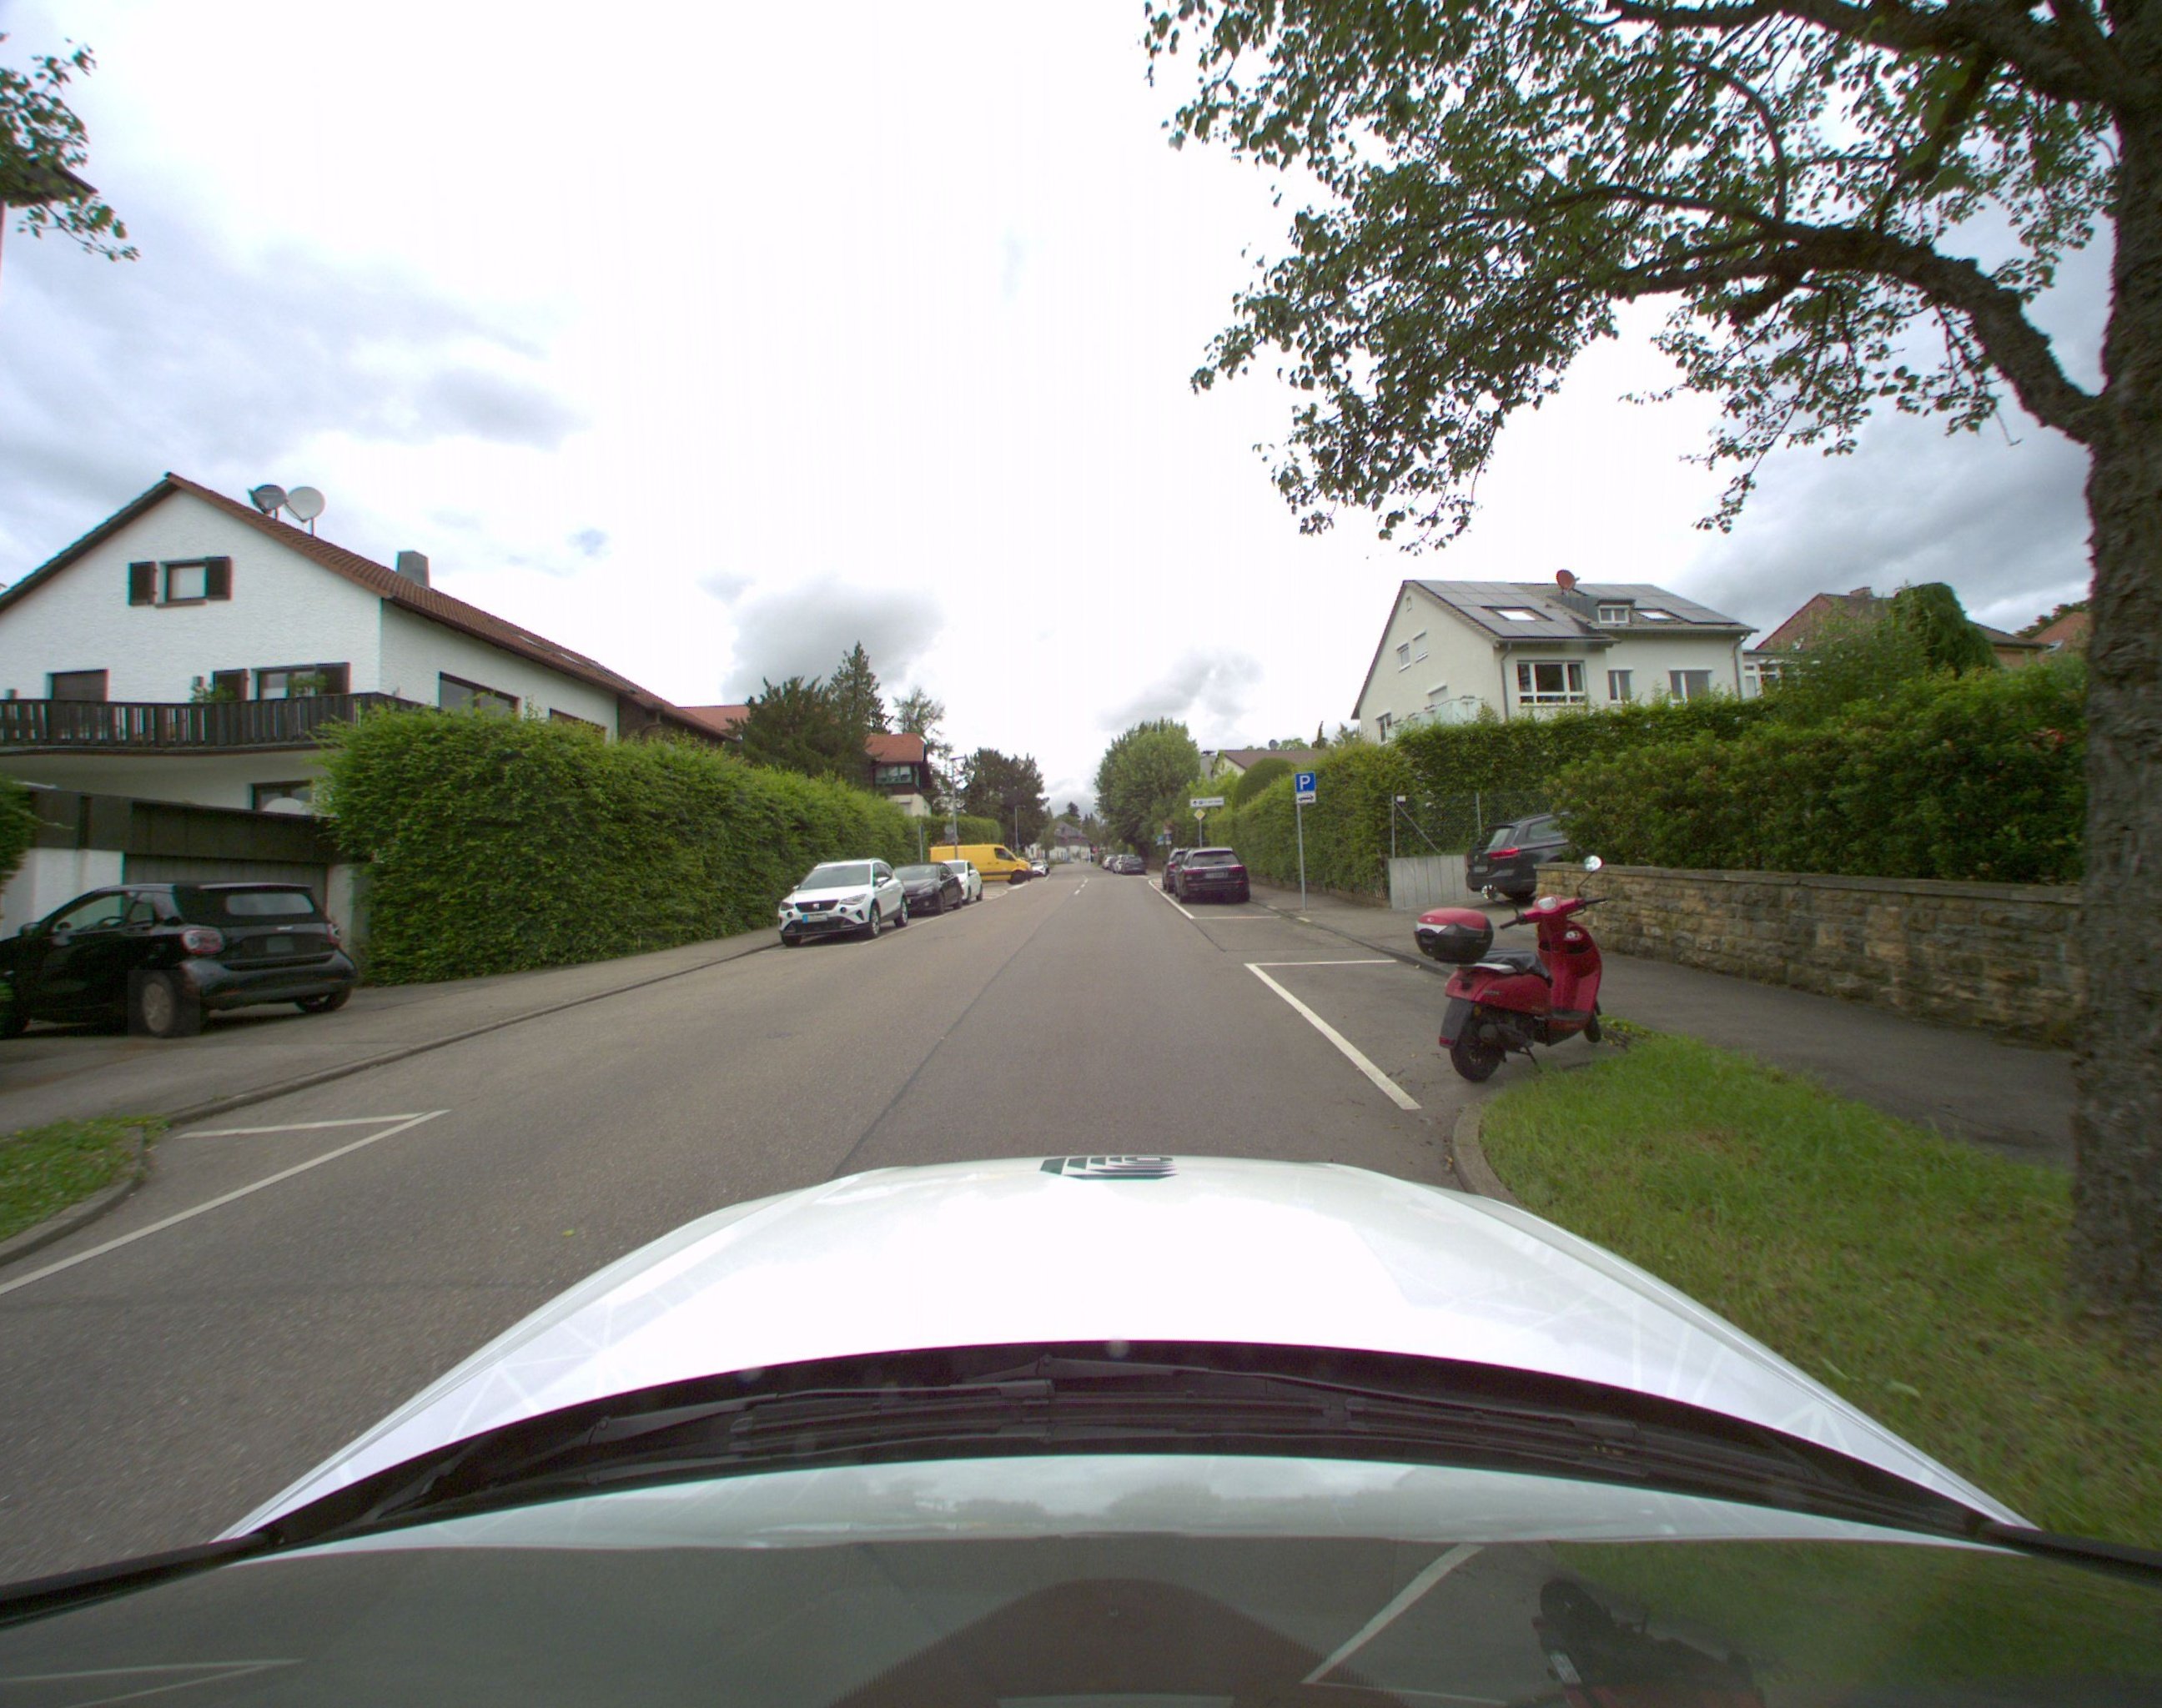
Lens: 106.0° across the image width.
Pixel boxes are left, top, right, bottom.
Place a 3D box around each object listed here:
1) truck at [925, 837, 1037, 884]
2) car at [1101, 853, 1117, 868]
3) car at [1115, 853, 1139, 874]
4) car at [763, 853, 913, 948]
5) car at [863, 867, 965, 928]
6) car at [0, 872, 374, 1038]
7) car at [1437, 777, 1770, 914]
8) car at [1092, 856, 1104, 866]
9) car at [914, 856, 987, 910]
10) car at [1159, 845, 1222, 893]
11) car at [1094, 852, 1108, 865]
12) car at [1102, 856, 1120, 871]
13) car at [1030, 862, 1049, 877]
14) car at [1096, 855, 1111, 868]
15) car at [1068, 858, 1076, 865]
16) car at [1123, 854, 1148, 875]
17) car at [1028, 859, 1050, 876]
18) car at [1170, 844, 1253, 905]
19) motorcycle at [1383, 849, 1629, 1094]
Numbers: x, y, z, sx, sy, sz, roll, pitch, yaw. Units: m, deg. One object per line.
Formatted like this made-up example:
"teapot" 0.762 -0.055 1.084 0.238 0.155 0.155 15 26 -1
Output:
"truck" -5.700 0.374 46.157 5.943 2.309 2.810 -2 -3 -16
"car" 3.343 0.814 97.899 1.660 1.668 3.465 -3 0 -2
"car" 4.011 0.803 71.118 1.709 1.657 3.620 -3 0 -2
"car" -4.697 0.815 16.391 1.717 1.540 4.000 -4 0 0
"car" -4.476 1.130 22.455 1.756 1.387 4.002 -5 -1 2
"car" -10.447 1.023 8.924 3.967 1.533 1.791 -1 1 6
"car" 8.850 -0.142 14.101 4.350 1.468 1.968 -10 0 0
"car" 2.520 0.983 122.811 1.639 1.372 3.465 -3 0 -2
"car" -4.299 0.921 27.326 1.624 1.523 3.640 -5 0 2
"car" 3.844 0.460 29.216 1.875 1.533 4.479 -2 1 3
"car" 2.801 0.638 113.792 1.639 1.668 3.465 -3 0 -2
"car" 3.331 1.047 90.985 1.660 1.500 3.465 -3 0 -2
"car" -4.283 1.600 84.258 1.663 1.399 3.459 -3 0 -7
"car" 2.932 0.946 104.940 1.660 1.500 3.465 -3 0 -2
"car" -2.122 1.673 187.091 1.817 1.420 3.997 -3 0 -2
"car" 4.382 0.828 66.348 1.660 1.500 3.465 -3 0 -2
"car" -3.767 1.186 72.148 1.663 1.399 3.459 -3 0 -7
"car" 3.615 0.505 23.296 1.875 1.533 4.479 -2 1 3
"motorcycle" 2.921 0.688 5.515 1.876 1.346 0.593 -3 0 -34
